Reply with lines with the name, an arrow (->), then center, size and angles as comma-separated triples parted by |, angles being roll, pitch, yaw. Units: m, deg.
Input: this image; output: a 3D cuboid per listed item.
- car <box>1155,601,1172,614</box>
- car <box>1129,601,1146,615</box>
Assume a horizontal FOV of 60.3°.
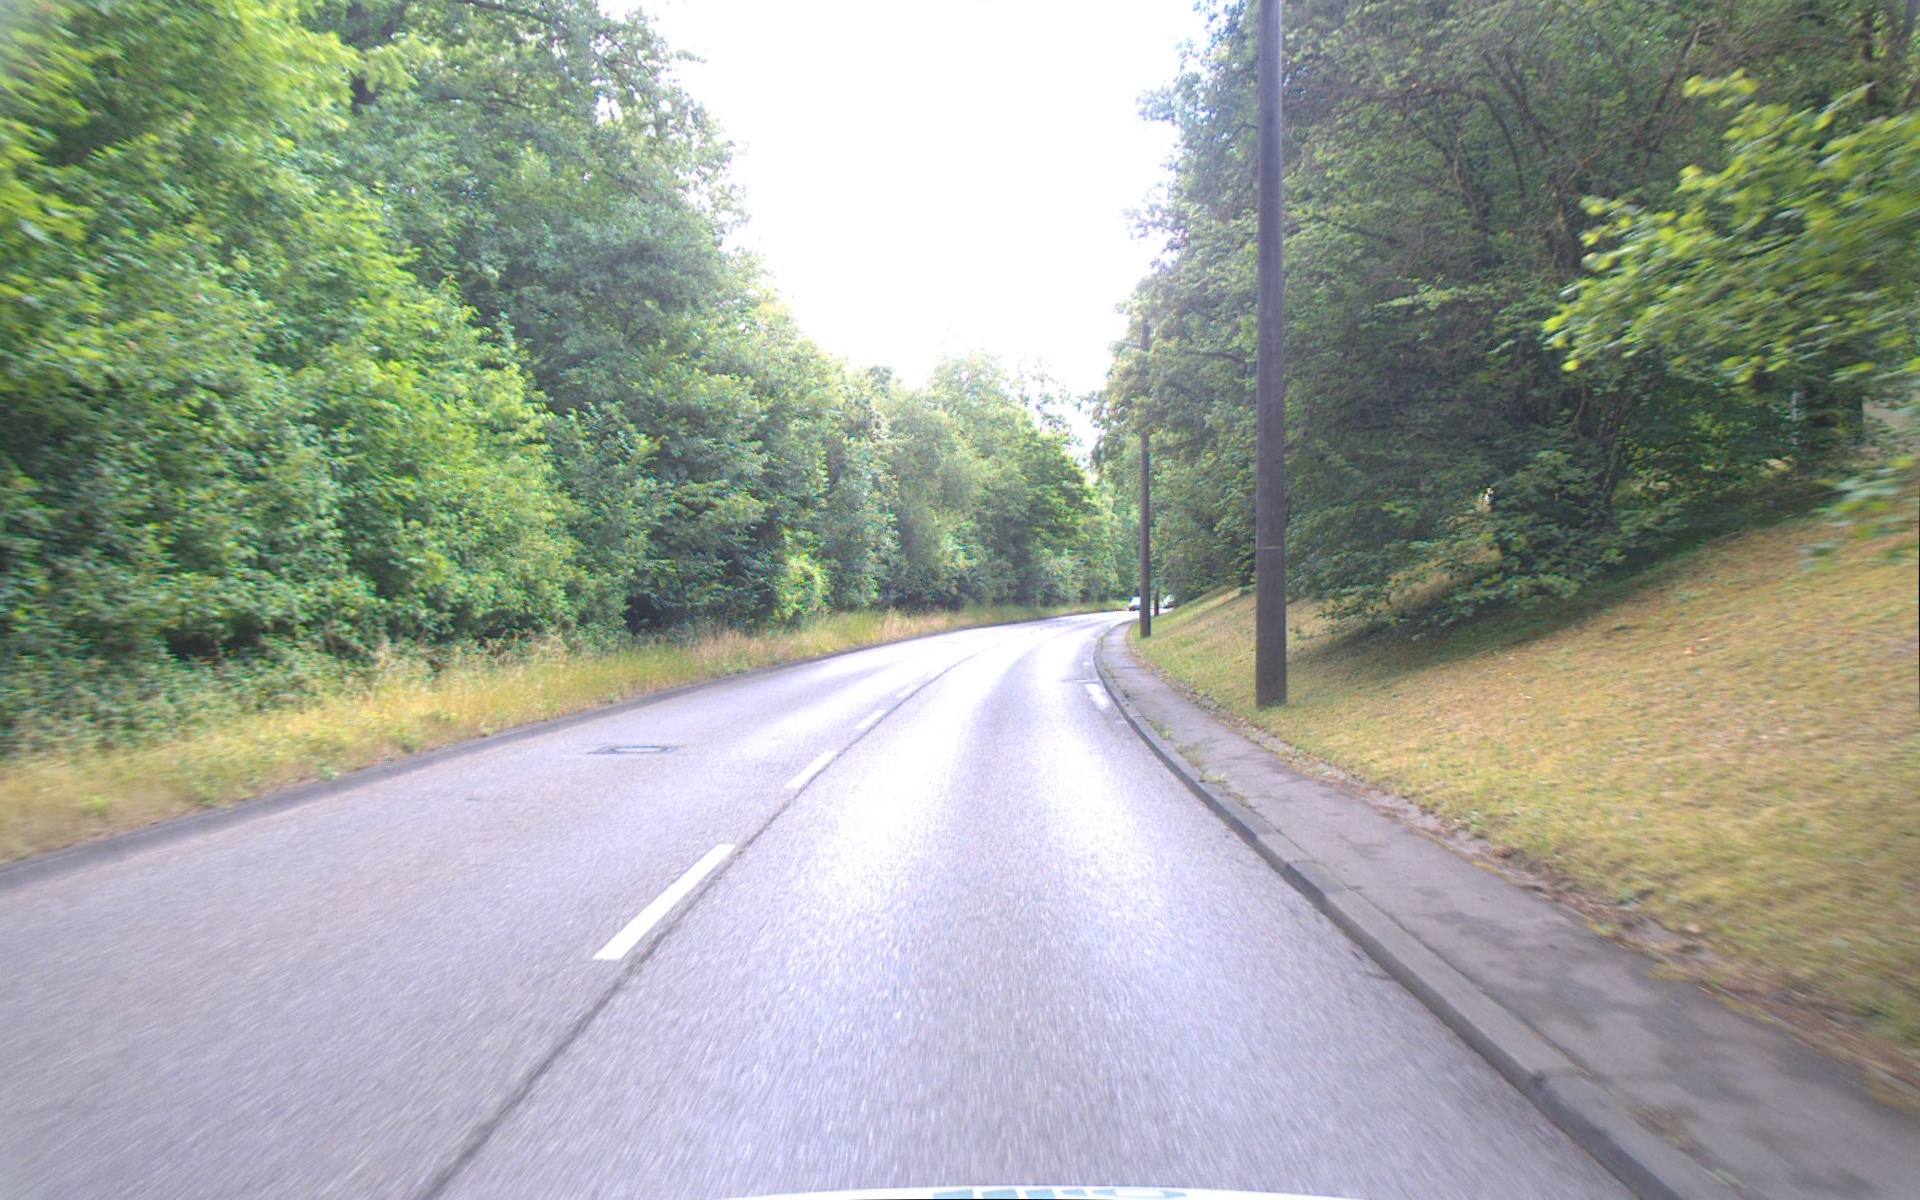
car -> 24.718, 0.910, 200.827 | 1.901, 1.609, 4.443 | 0, 0, 6
car -> 18.377, 0.848, 171.187 | 1.771, 1.445, 4.003 | 0, 0, 6
